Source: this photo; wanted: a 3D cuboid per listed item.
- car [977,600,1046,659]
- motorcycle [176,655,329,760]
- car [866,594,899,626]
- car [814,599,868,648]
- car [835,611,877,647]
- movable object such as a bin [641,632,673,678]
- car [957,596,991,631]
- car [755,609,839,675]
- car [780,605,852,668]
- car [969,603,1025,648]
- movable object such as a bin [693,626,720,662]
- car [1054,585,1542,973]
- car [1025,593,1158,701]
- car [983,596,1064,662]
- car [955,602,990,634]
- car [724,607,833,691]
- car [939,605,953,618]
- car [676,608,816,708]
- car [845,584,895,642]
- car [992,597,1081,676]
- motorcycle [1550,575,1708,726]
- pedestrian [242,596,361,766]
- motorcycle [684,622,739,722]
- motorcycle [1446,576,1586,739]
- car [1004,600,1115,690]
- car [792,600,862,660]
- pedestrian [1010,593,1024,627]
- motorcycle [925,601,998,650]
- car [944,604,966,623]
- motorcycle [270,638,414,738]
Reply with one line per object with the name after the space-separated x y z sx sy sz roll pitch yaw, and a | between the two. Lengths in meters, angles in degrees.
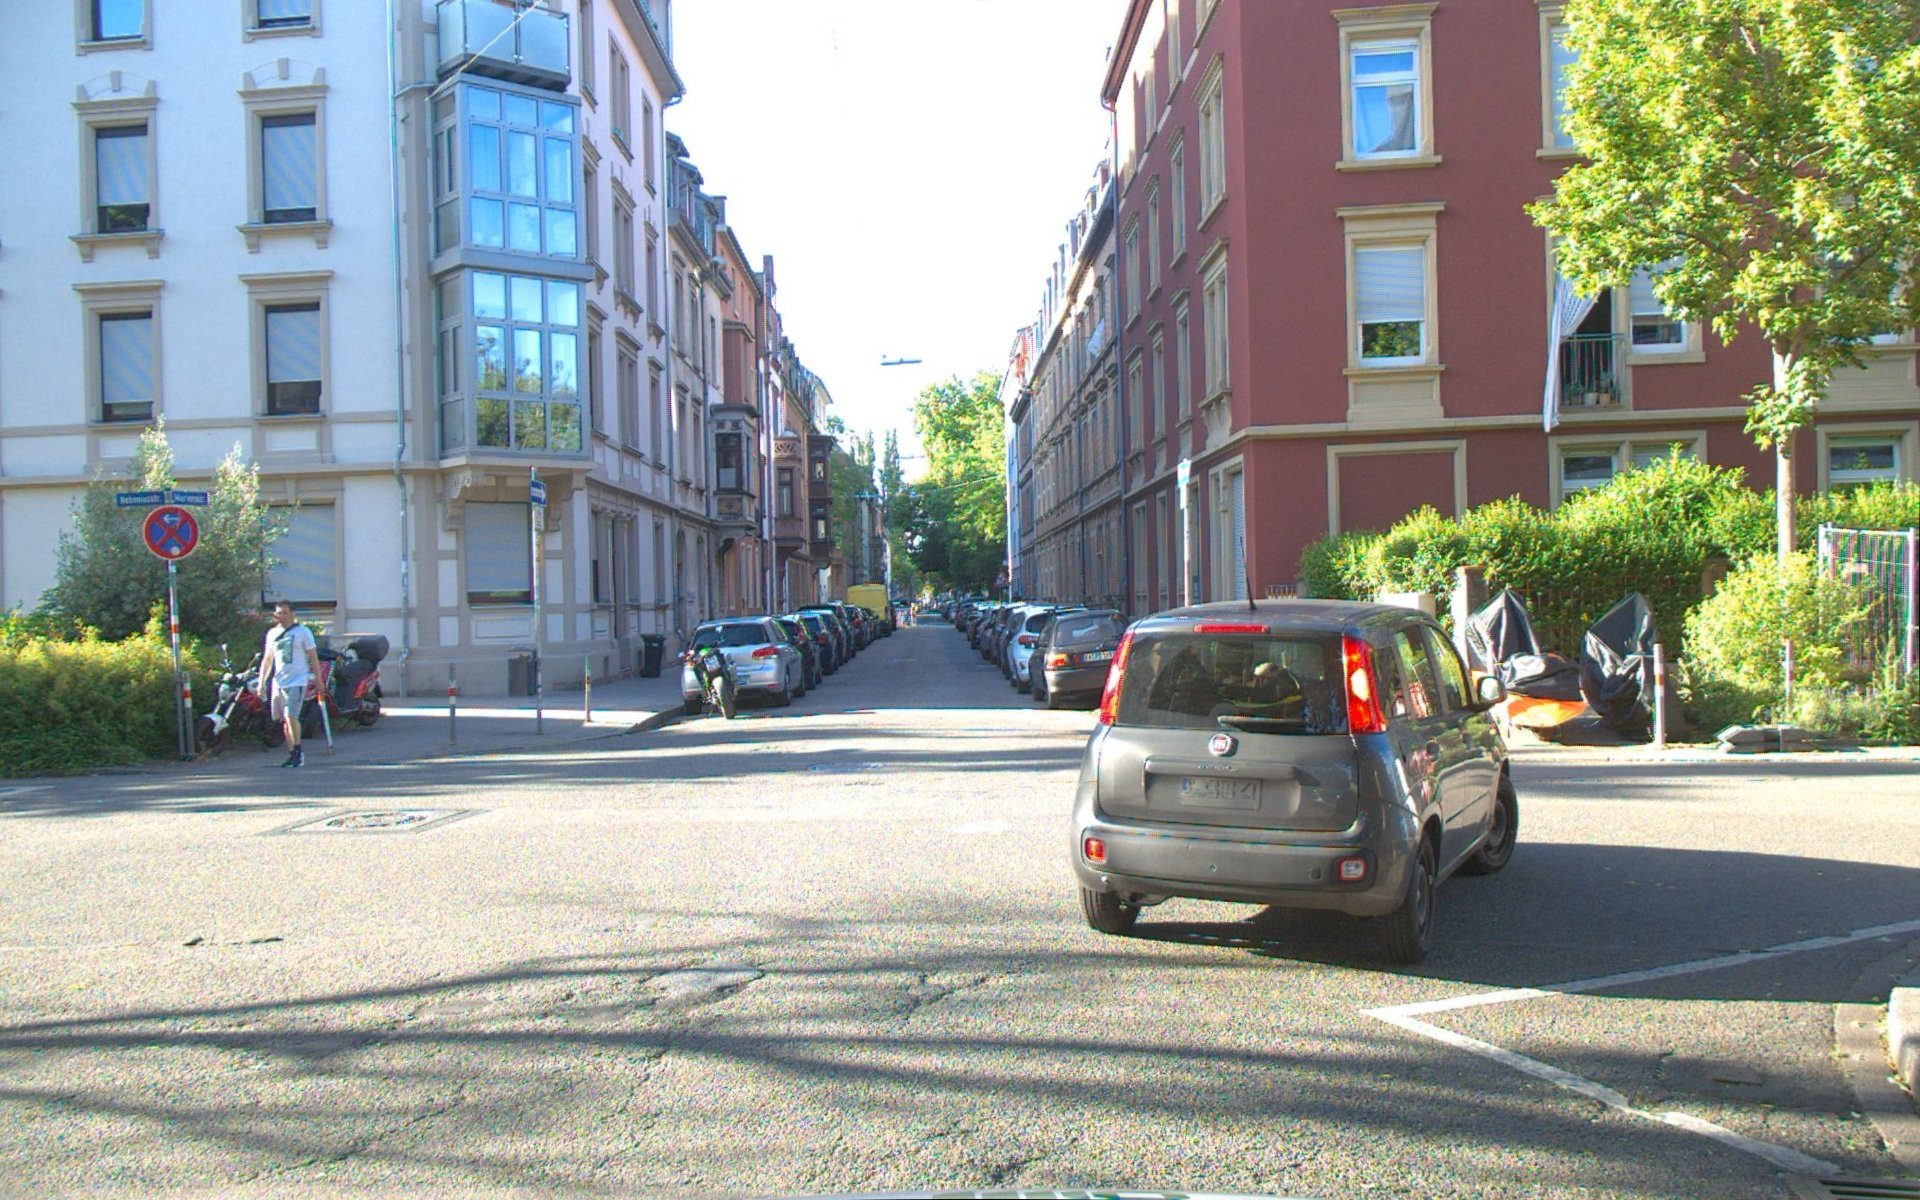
1.385 0.784 46.202 1.726 1.510 4.401 -2 0 0 | car
-8.220 1.228 19.309 0.625 1.109 1.871 -2 -1 14 | motorcycle
-4.530 0.572 95.999 1.783 1.797 4.332 -2 0 -4 | car
-4.211 0.822 59.064 1.745 1.634 4.067 -2 0 -2 | car
-4.359 1.210 69.794 1.586 1.349 3.611 -5 0 -2 | car
-6.553 1.191 35.777 0.609 0.972 0.511 0 -1 -1 | movable object such as a bin
0.784 0.729 94.746 1.719 1.817 4.722 -4 0 -1 | car
-3.818 0.958 39.247 1.745 1.428 3.741 -2 0 -2 | car
-3.812 0.945 44.191 1.610 1.481 3.837 -4 0 -2 | car
1.231 0.837 56.793 1.741 1.421 4.316 -2 0 -1 | car
-6.951 1.204 45.358 0.600 0.936 0.733 -2 -1 -1 | movable object such as a bin
1.906 0.708 8.429 1.602 1.509 3.530 -2 0 26 | car
1.979 0.679 25.809 1.635 1.509 3.705 -2 0 -2 | car
1.545 0.687 41.363 1.626 1.505 4.022 -2 0 -3 | car
0.696 0.931 89.305 1.718 1.477 4.288 -6 0 0 | car
-3.536 0.920 32.796 1.745 1.509 3.742 -2 0 0 | car
-2.007 1.673 238.195 1.953 1.758 3.999 -2 0 -1 | car
-3.542 0.917 28.003 1.744 1.509 3.933 -2 0 1 | car
-4.378 0.626 81.104 2.131 2.551 5.876 -4 0 -1 | car
1.575 0.735 35.394 1.642 1.529 4.068 -2 0 -1 | car
6.907 0.494 17.225 0.850 1.429 2.544 -2 0 7 | motorcycle
-7.165 0.861 18.038 0.786 1.776 1.007 -2 0 5 | pedestrian
-3.684 1.043 24.626 0.664 1.357 1.997 -4 0 -8 | motorcycle
5.813 0.545 17.472 0.853 1.551 2.625 -2 1 7 | motorcycle
1.759 0.769 30.324 1.671 1.488 3.969 -2 0 -1 | car
-3.928 0.859 49.375 1.725 1.645 4.188 -2 0 0 | car
2.930 0.516 84.804 0.640 1.659 0.881 -4 -1 2 | pedestrian
0.041 0.810 53.346 2.193 1.563 0.882 1 0 -27 | motorcycle
-0.449 1.224 150.103 1.856 1.654 3.998 -2 -1 -2 | car
-8.020 1.121 21.567 0.598 1.217 2.045 -2 -1 18 | motorcycle
